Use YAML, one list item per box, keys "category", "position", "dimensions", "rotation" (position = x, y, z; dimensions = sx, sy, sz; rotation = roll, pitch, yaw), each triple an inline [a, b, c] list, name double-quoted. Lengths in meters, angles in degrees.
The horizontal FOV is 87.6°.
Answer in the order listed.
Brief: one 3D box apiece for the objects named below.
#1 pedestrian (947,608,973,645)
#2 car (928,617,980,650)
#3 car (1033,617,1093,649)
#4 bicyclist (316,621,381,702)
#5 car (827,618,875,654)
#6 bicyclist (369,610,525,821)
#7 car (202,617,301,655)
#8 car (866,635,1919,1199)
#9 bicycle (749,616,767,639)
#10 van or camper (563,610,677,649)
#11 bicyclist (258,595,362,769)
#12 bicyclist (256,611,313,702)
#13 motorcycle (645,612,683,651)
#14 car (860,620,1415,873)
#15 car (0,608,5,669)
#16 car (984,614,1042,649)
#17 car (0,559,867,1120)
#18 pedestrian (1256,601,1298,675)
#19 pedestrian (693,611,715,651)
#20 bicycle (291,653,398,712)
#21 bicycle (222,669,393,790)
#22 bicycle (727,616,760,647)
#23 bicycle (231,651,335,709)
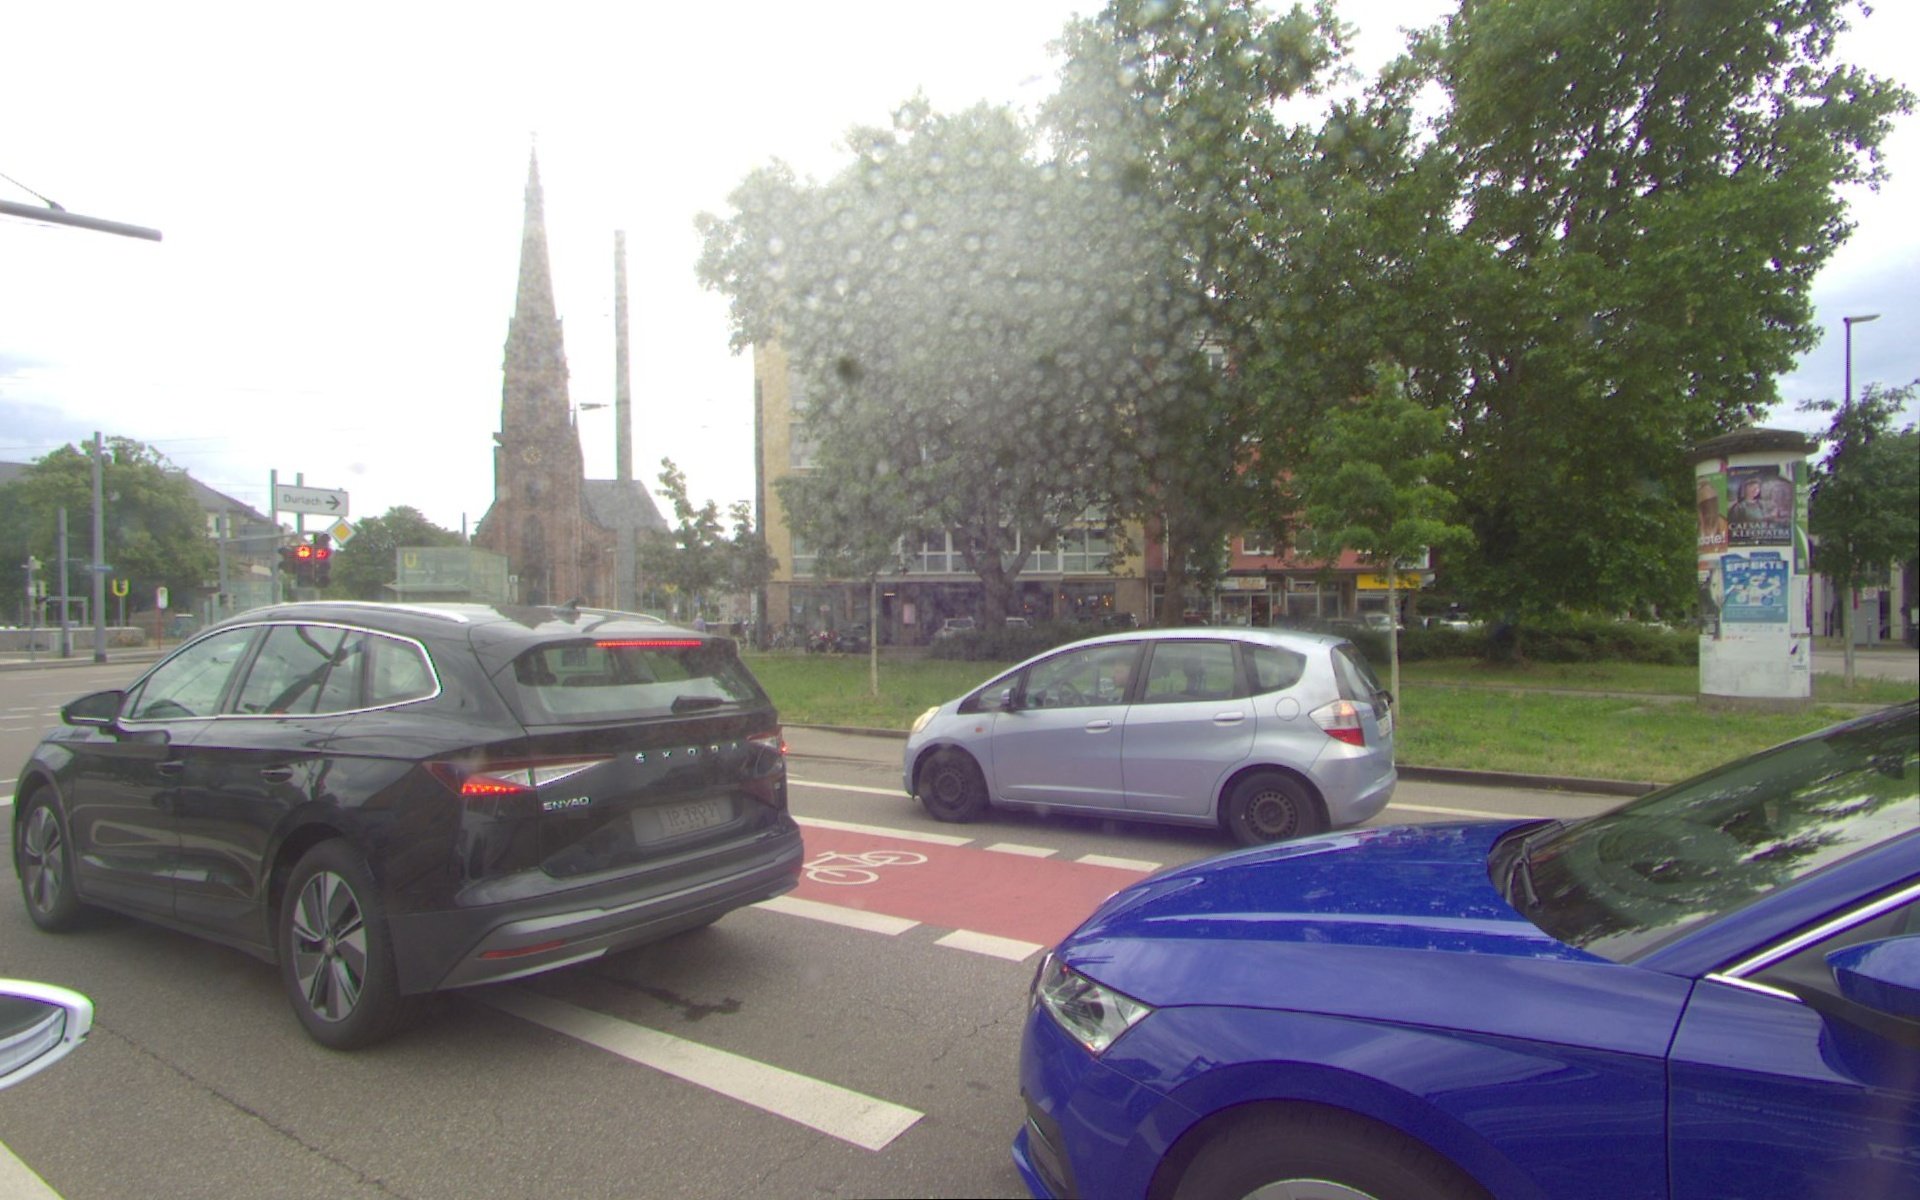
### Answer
- category: "pedestrian"
  position: [0.003, 1.303, 49.829]
  dimensions: [1.032, 1.780, 0.786]
  rotation: [-1, 1, -22]
- category: "car"
  position: [-0.321, 1.522, 46.678]
  dimensions: [1.962, 1.483, 3.999]
  rotation: [0, -1, -7]
- category: "car"
  position: [4.740, 1.489, 46.461]
  dimensions: [1.802, 1.353, 3.997]
  rotation: [-1, 0, -9]
- category: "bicyclist"
  position: [-11.915, 1.176, 19.535]
  dimensions: [0.659, 1.542, 0.886]
  rotation: [0, 0, 12]
- category: "car"
  position: [-4.944, 1.613, 45.791]
  dimensions: [1.806, 1.462, 4.166]
  rotation: [-1, 0, -1]
- category: "bicyclist"
  position: [-4.278, 0.915, 8.373]
  dimensions: [0.919, 1.639, 0.788]
  rotation: [-1, -2, 31]
- category: "car"
  position: [-31.601, 1.568, 44.812]
  dimensions: [1.693, 1.502, 4.625]
  rotation: [-1, 0, -9]
- category: "car"
  position: [2.238, 0.799, 1.609]
  dimensions: [4.689, 1.454, 1.762]
  rotation: [-1, -2, 33]
- category: "bicycle"
  position: [-10.735, 1.449, 53.257]
  dimensions: [0.657, 1.184, 2.040]
  rotation: [0, 0, -3]
- category: "van or camper"
  position: [-18.217, 1.543, 53.833]
  dimensions: [5.404, 2.004, 2.155]
  rotation: [0, -1, -39]
- category: "bicyclist"
  position: [-6.698, 0.808, 10.323]
  dimensions: [0.794, 1.713, 0.614]
  rotation: [0, 0, 30]
- category: "bicyclist"
  position: [-13.451, 1.109, 19.960]
  dimensions: [0.574, 1.775, 0.734]
  rotation: [0, 1, 6]
- category: "motorcycle"
  position: [-11.008, 1.162, 37.367]
  dimensions: [1.027, 1.384, 2.291]
  rotation: [-1, 0, -9]
- category: "car"
  position: [1.295, 0.928, 7.704]
  dimensions: [3.875, 1.502, 1.703]
  rotation: [-1, -2, 31]
- category: "car"
  position: [-33.892, 1.269, 31.652]
  dimensions: [1.967, 2.045, 5.017]
  rotation: [0, -1, 24]
- category: "car"
  position: [2.434, 1.442, 47.009]
  dimensions: [1.962, 1.461, 3.997]
  rotation: [-1, 0, -9]
- category: "car"
  position: [-2.816, 0.753, 4.968]
  dimensions: [4.448, 1.680, 1.900]
  rotation: [-1, 0, 31]
- category: "pedestrian"
  position: [8.025, 0.941, 25.385]
  dimensions: [0.881, 1.843, 0.866]
  rotation: [0, 1, 8]
- category: "pedestrian"
  position: [-11.535, 1.400, 45.126]
  dimensions: [0.797, 1.760, 0.906]
  rotation: [0, 1, -2]
- category: "bicycle"
  position: [-11.940, 1.578, 19.506]
  dimensions: [0.590, 1.011, 1.945]
  rotation: [0, -1, 12]
- category: "bicycle"
  position: [-6.801, 1.292, 10.397]
  dimensions: [2.094, 1.069, 0.624]
  rotation: [0, 0, 31]
- category: "bicycle"
  position: [-10.232, 1.467, 47.469]
  dimensions: [0.886, 1.395, 2.784]
  rotation: [0, 0, 2]
- category: "bicycle"
  position: [-13.451, 1.569, 19.962]
  dimensions: [0.568, 1.011, 1.992]
  rotation: [-1, -1, 5]
